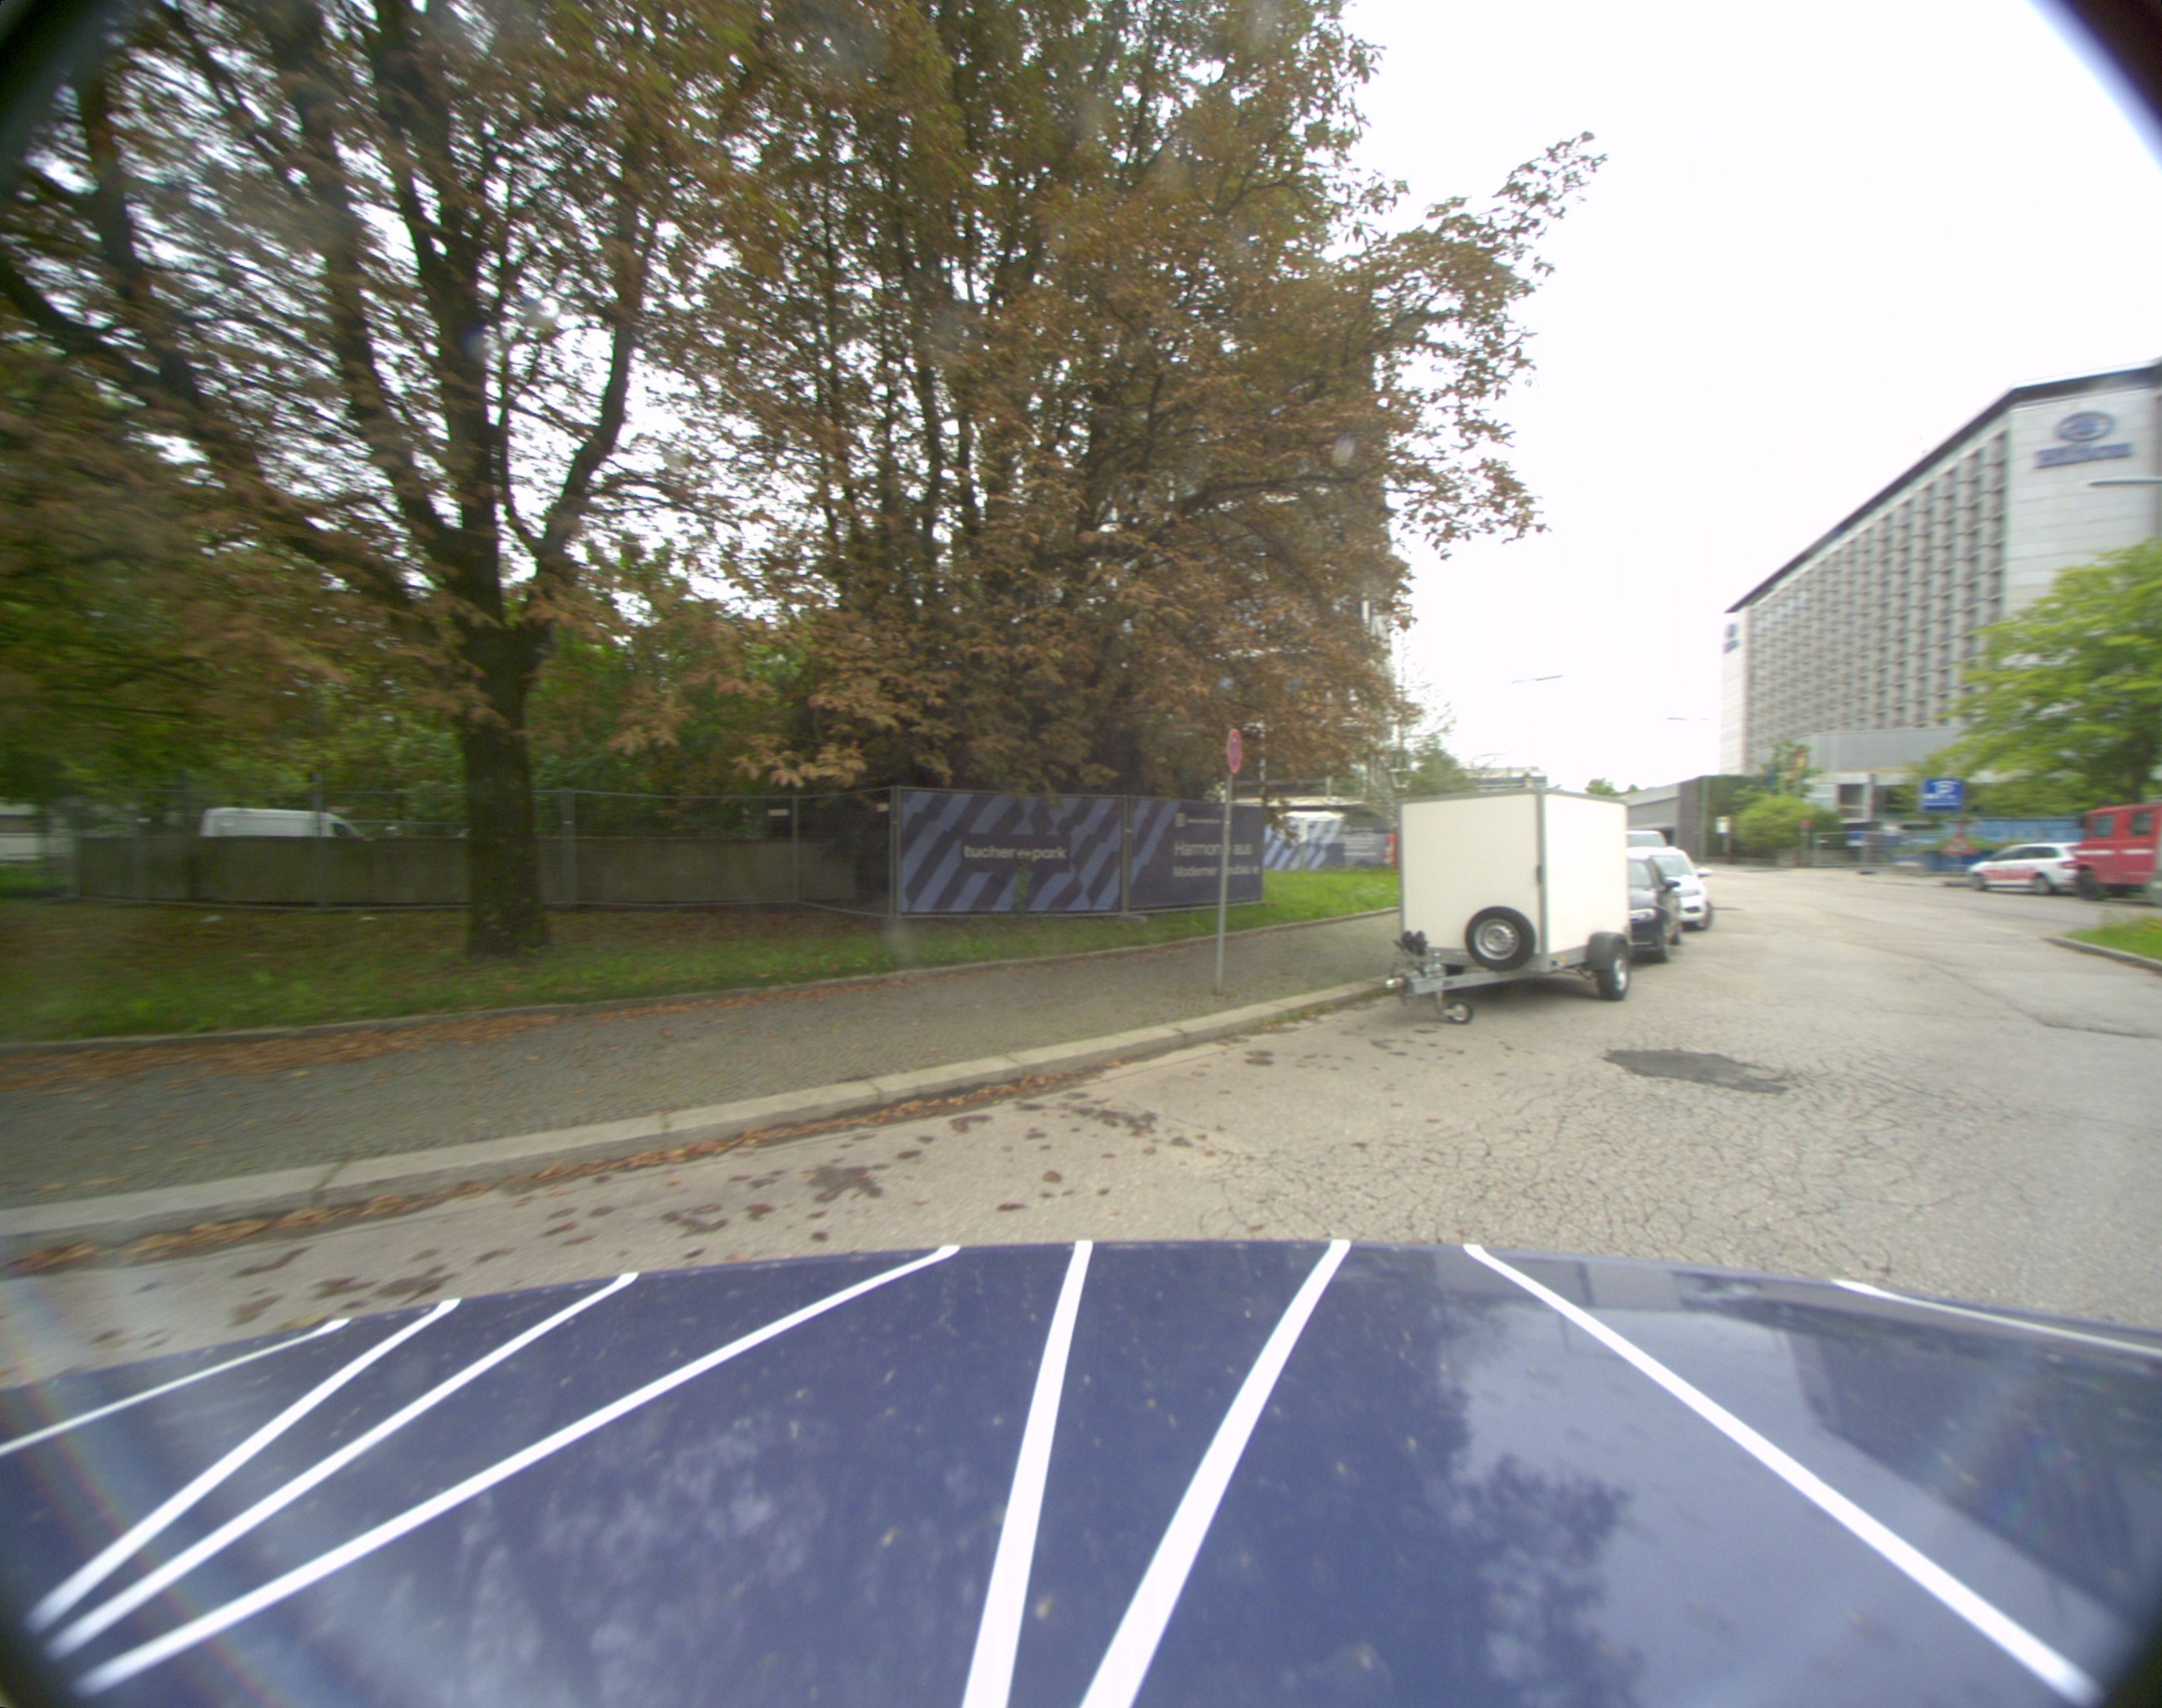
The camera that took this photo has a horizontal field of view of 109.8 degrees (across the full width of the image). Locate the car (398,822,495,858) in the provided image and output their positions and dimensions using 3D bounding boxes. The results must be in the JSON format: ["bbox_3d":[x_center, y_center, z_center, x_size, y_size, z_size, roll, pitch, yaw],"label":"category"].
[{"bbox_3d":[-47.266,-1.057,56.775,2.071,2.566,5.144,1,1,23],"label":"car"}]

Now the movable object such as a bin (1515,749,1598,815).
[{"bbox_3d":[31.341,-4.564,50.508,3.244,3.696,9.020,0,2,23],"label":"movable object such as a bin"}]

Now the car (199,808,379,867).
[{"bbox_3d":[-37.157,-0.763,35.896,2.071,2.566,5.466,1,1,23],"label":"car"}]

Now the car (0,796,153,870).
[{"bbox_3d":[-39.911,-0.782,28.777,2.071,2.718,5.605,1,1,23],"label":"car"}]

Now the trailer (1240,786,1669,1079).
[{"bbox_3d":[3.838,0.479,7.381,4.843,2.002,1.809,-2,2,-38],"label":"trailer"}]

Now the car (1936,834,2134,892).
[{"bbox_3d":[27.983,0.208,22.526,1.777,1.541,4.263,0,1,22],"label":"car"}]

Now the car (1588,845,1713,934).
[{"bbox_3d":[11.355,0.580,15.211,1.767,1.477,4.229,1,2,37],"label":"car"}]

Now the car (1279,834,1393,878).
[{"bbox_3d":[11.820,0.094,35.220,4.764,1.911,2.003,0,1,25],"label":"car"}]

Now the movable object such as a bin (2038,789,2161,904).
[{"bbox_3d":[24.569,-0.171,16.752,2.105,2.444,6.198,1,1,30],"label":"movable object such as a bin"}]

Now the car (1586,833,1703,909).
[{"bbox_3d":[14.386,0.331,19.653,1.994,1.718,4.457,1,2,31],"label":"car"}]

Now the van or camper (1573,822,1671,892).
[{"bbox_3d":[17.254,0.008,24.497,1.994,2.002,5.386,1,2,30],"label":"van or camper"}]

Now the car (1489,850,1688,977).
[{"bbox_3d":[7.643,0.702,11.257,1.872,1.429,4.337,2,2,41],"label":"car"}]
